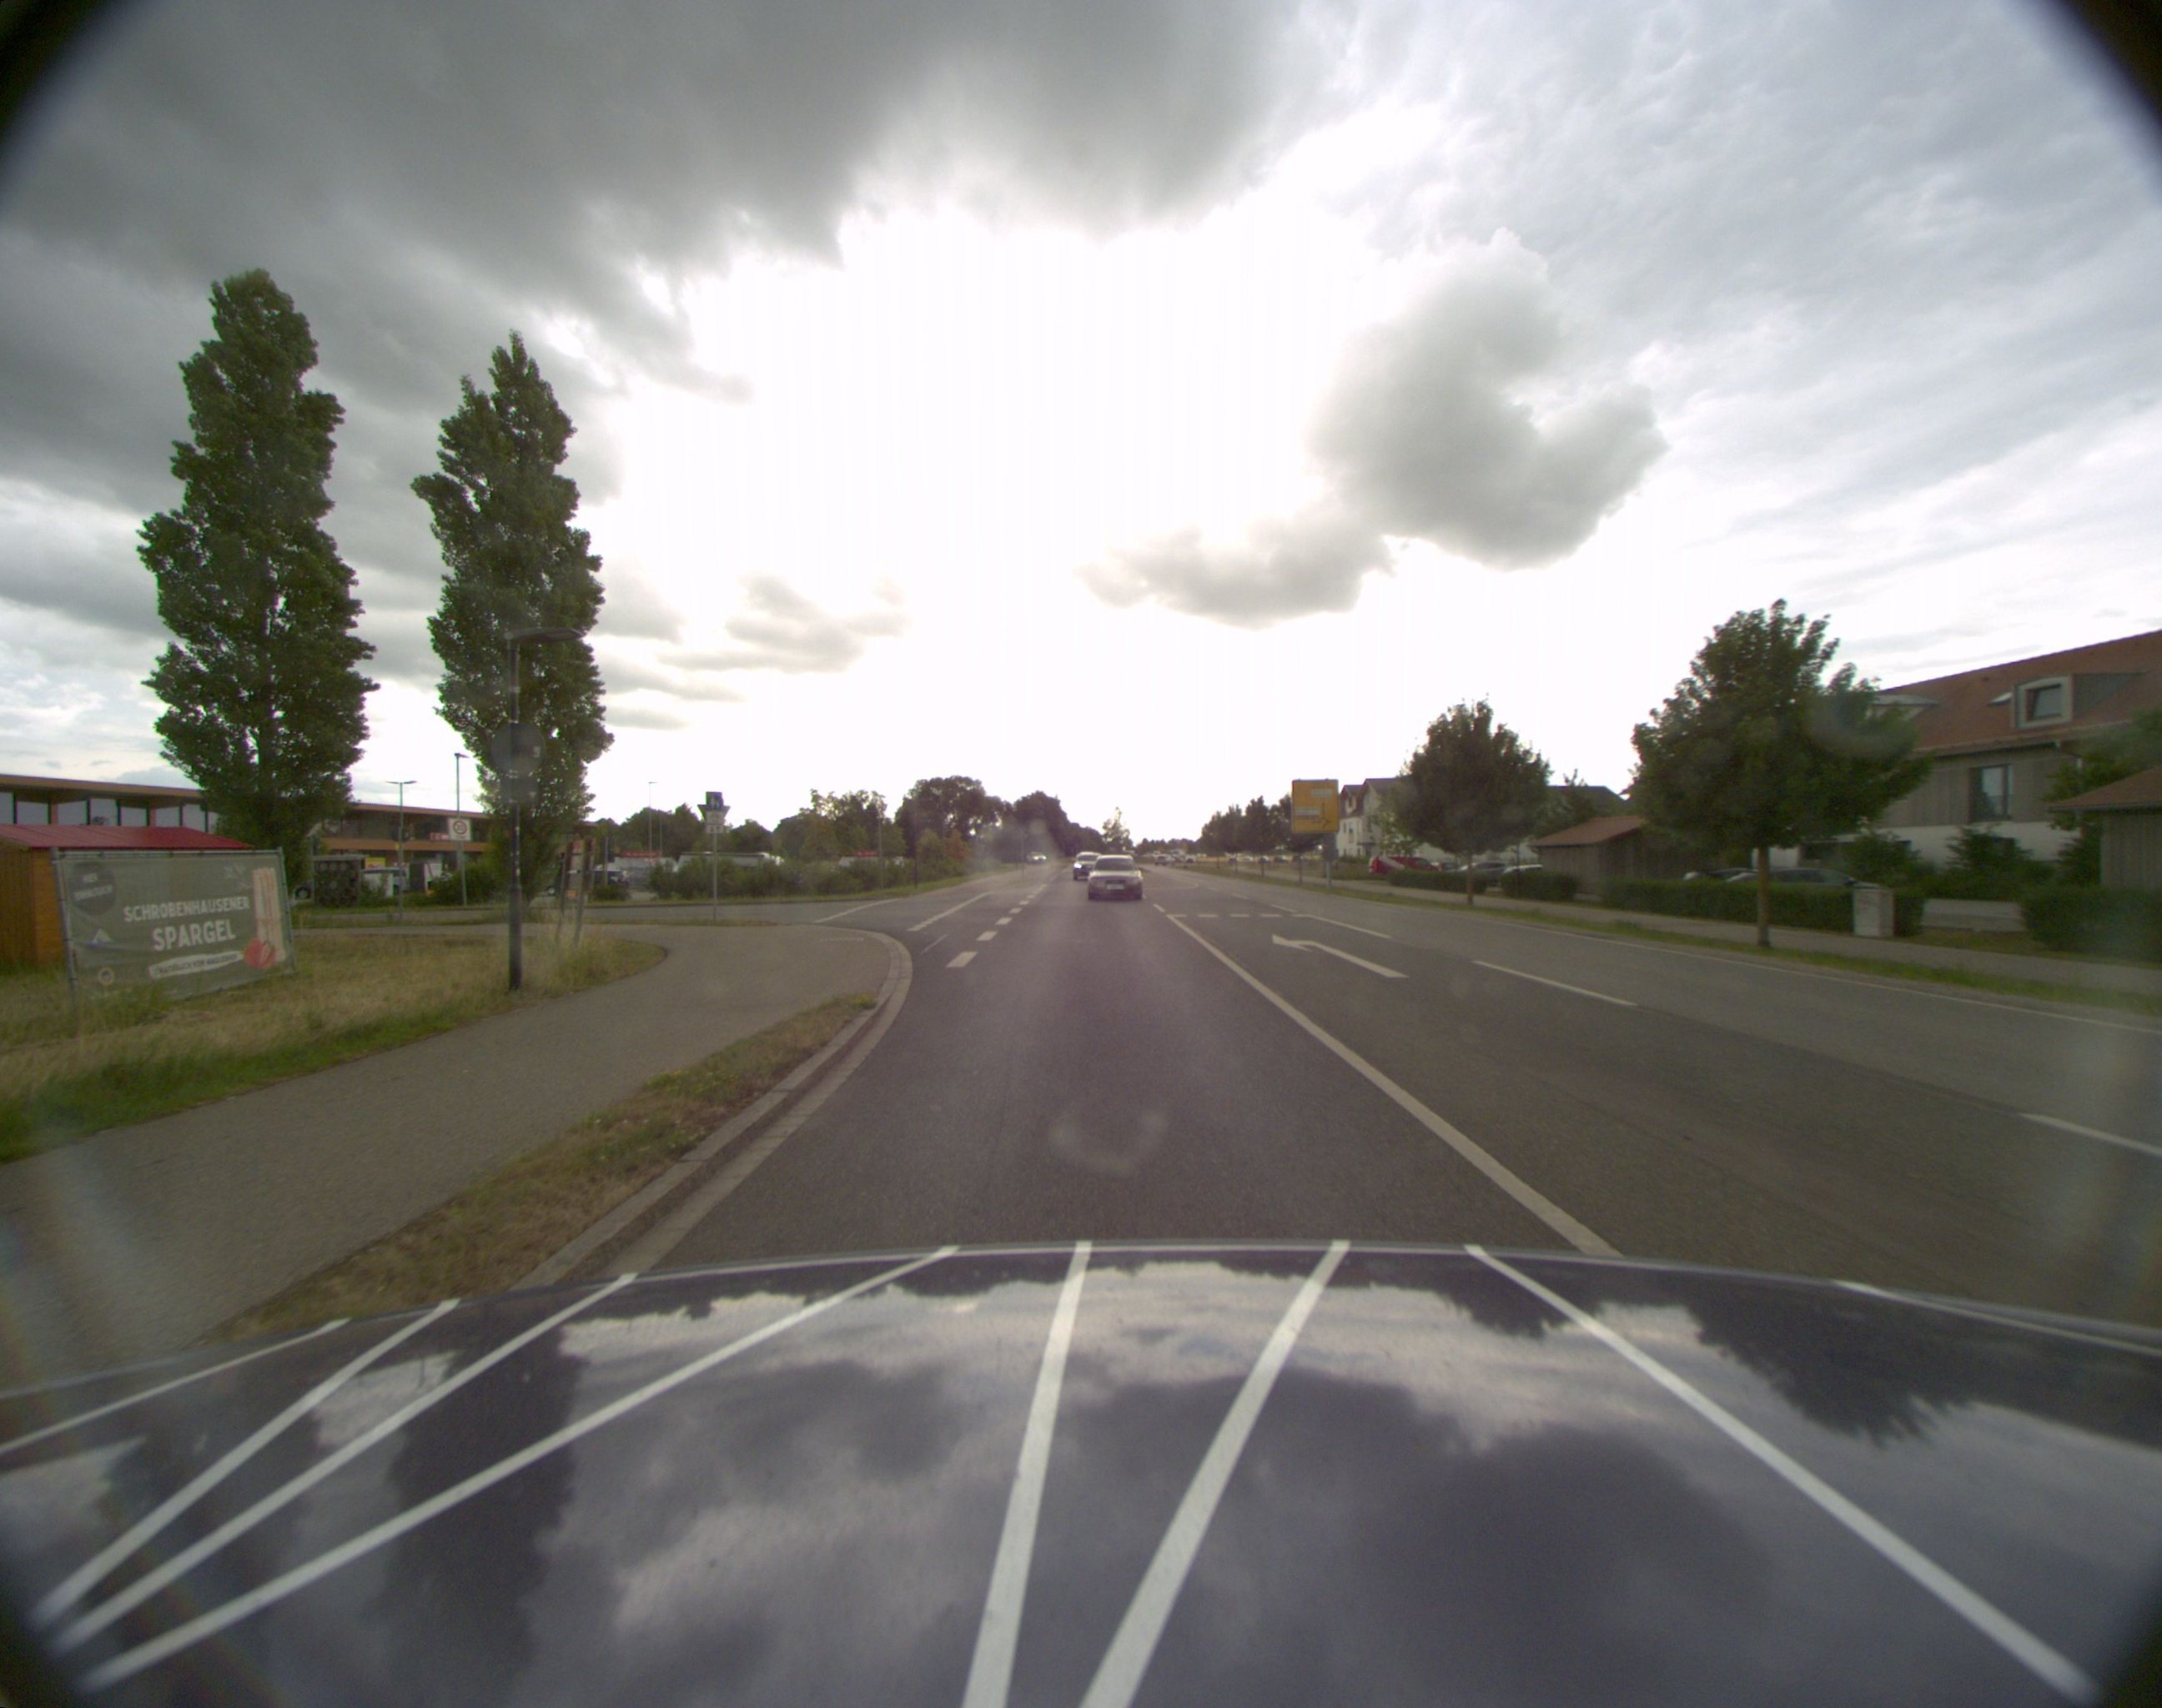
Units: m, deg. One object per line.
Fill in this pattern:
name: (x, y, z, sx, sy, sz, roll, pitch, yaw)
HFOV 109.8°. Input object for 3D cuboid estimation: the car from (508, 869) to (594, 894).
car: (-34.035, 1.765, 48.897, 4.188, 1.424, 1.902, 1, 0, -1)

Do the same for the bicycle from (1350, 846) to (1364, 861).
bicycle: (27.703, -0.058, 76.285, 0.684, 1.409, 2.094, 1, 0, 0)

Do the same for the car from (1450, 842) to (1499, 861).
car: (32.204, -0.183, 62.290, 1.998, 1.499, 4.000, 1, 0, 1)

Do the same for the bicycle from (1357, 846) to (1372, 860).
bicycle: (28.475, -0.074, 76.262, 0.684, 1.420, 2.094, 1, 0, 0)

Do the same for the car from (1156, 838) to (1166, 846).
car: (16.245, -2.381, 154.529, 1.774, 1.435, 4.000, 1, 0, 1)

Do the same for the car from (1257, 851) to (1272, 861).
car: (35.356, 0.412, 146.699, 1.995, 2.002, 4.007, 1, 0, 25)

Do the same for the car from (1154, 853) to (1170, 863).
car: (11.190, 0.550, 104.751, 1.774, 1.435, 4.000, 1, 0, 1)

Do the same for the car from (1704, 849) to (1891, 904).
car: (22.702, 0.695, 24.215, 3.996, 1.608, 2.000, 1, 0, 2)

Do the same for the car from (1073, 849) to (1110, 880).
car: (0.651, 0.550, 43.083, 1.869, 1.578, 5.063, -1, 1, 3)

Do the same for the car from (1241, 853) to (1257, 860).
car: (32.671, 0.490, 147.672, 1.995, 1.280, 4.007, 1, 0, 25)

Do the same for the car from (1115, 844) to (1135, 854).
car: (8.376, -0.928, 144.093, 1.994, 1.674, 4.009, 1, 0, 37)

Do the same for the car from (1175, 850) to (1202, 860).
car: (18.784, 0.208, 132.972, 4.219, 1.573, 1.829, 2, 0, -16)

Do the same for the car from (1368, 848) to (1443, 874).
car: (24.535, 0.523, 57.588, 4.915, 1.805, 1.907, 1, 0, 6)

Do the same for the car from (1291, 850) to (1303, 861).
car: (40.752, 0.218, 143.338, 1.996, 2.002, 4.005, 1, 0, 16)

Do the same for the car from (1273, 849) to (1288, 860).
car: (38.111, 0.147, 144.855, 1.995, 2.002, 4.007, 1, 0, 25)

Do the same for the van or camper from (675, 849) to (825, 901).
van or camper: (-16.589, 1.045, 38.364, 6.484, 2.450, 2.281, 1, 0, -2)

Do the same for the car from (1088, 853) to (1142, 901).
car: (1.182, 0.712, 25.729, 1.700, 1.458, 4.000, 1, 1, 3)

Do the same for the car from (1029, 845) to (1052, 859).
car: (-6.105, -0.344, 114.657, 2.003, 2.002, 4.232, 1, 0, -25)

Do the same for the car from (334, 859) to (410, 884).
car: (-52.650, 1.301, 56.452, 3.995, 1.739, 1.946, 1, 0, 5)

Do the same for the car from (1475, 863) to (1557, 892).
car: (23.471, 1.267, 41.103, 3.523, 1.480, 1.563, 1, 0, 0)

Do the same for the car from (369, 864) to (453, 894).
car: (-45.844, 1.704, 52.052, 3.903, 1.900, 2.038, 1, 0, -1)

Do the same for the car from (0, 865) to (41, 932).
car: (-35.928, 1.341, 23.744, 5.224, 2.002, 2.002, 1, 0, 11)

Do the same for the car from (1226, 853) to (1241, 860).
car: (30.026, 0.438, 149.171, 1.995, 1.280, 4.007, 1, 0, 25)
